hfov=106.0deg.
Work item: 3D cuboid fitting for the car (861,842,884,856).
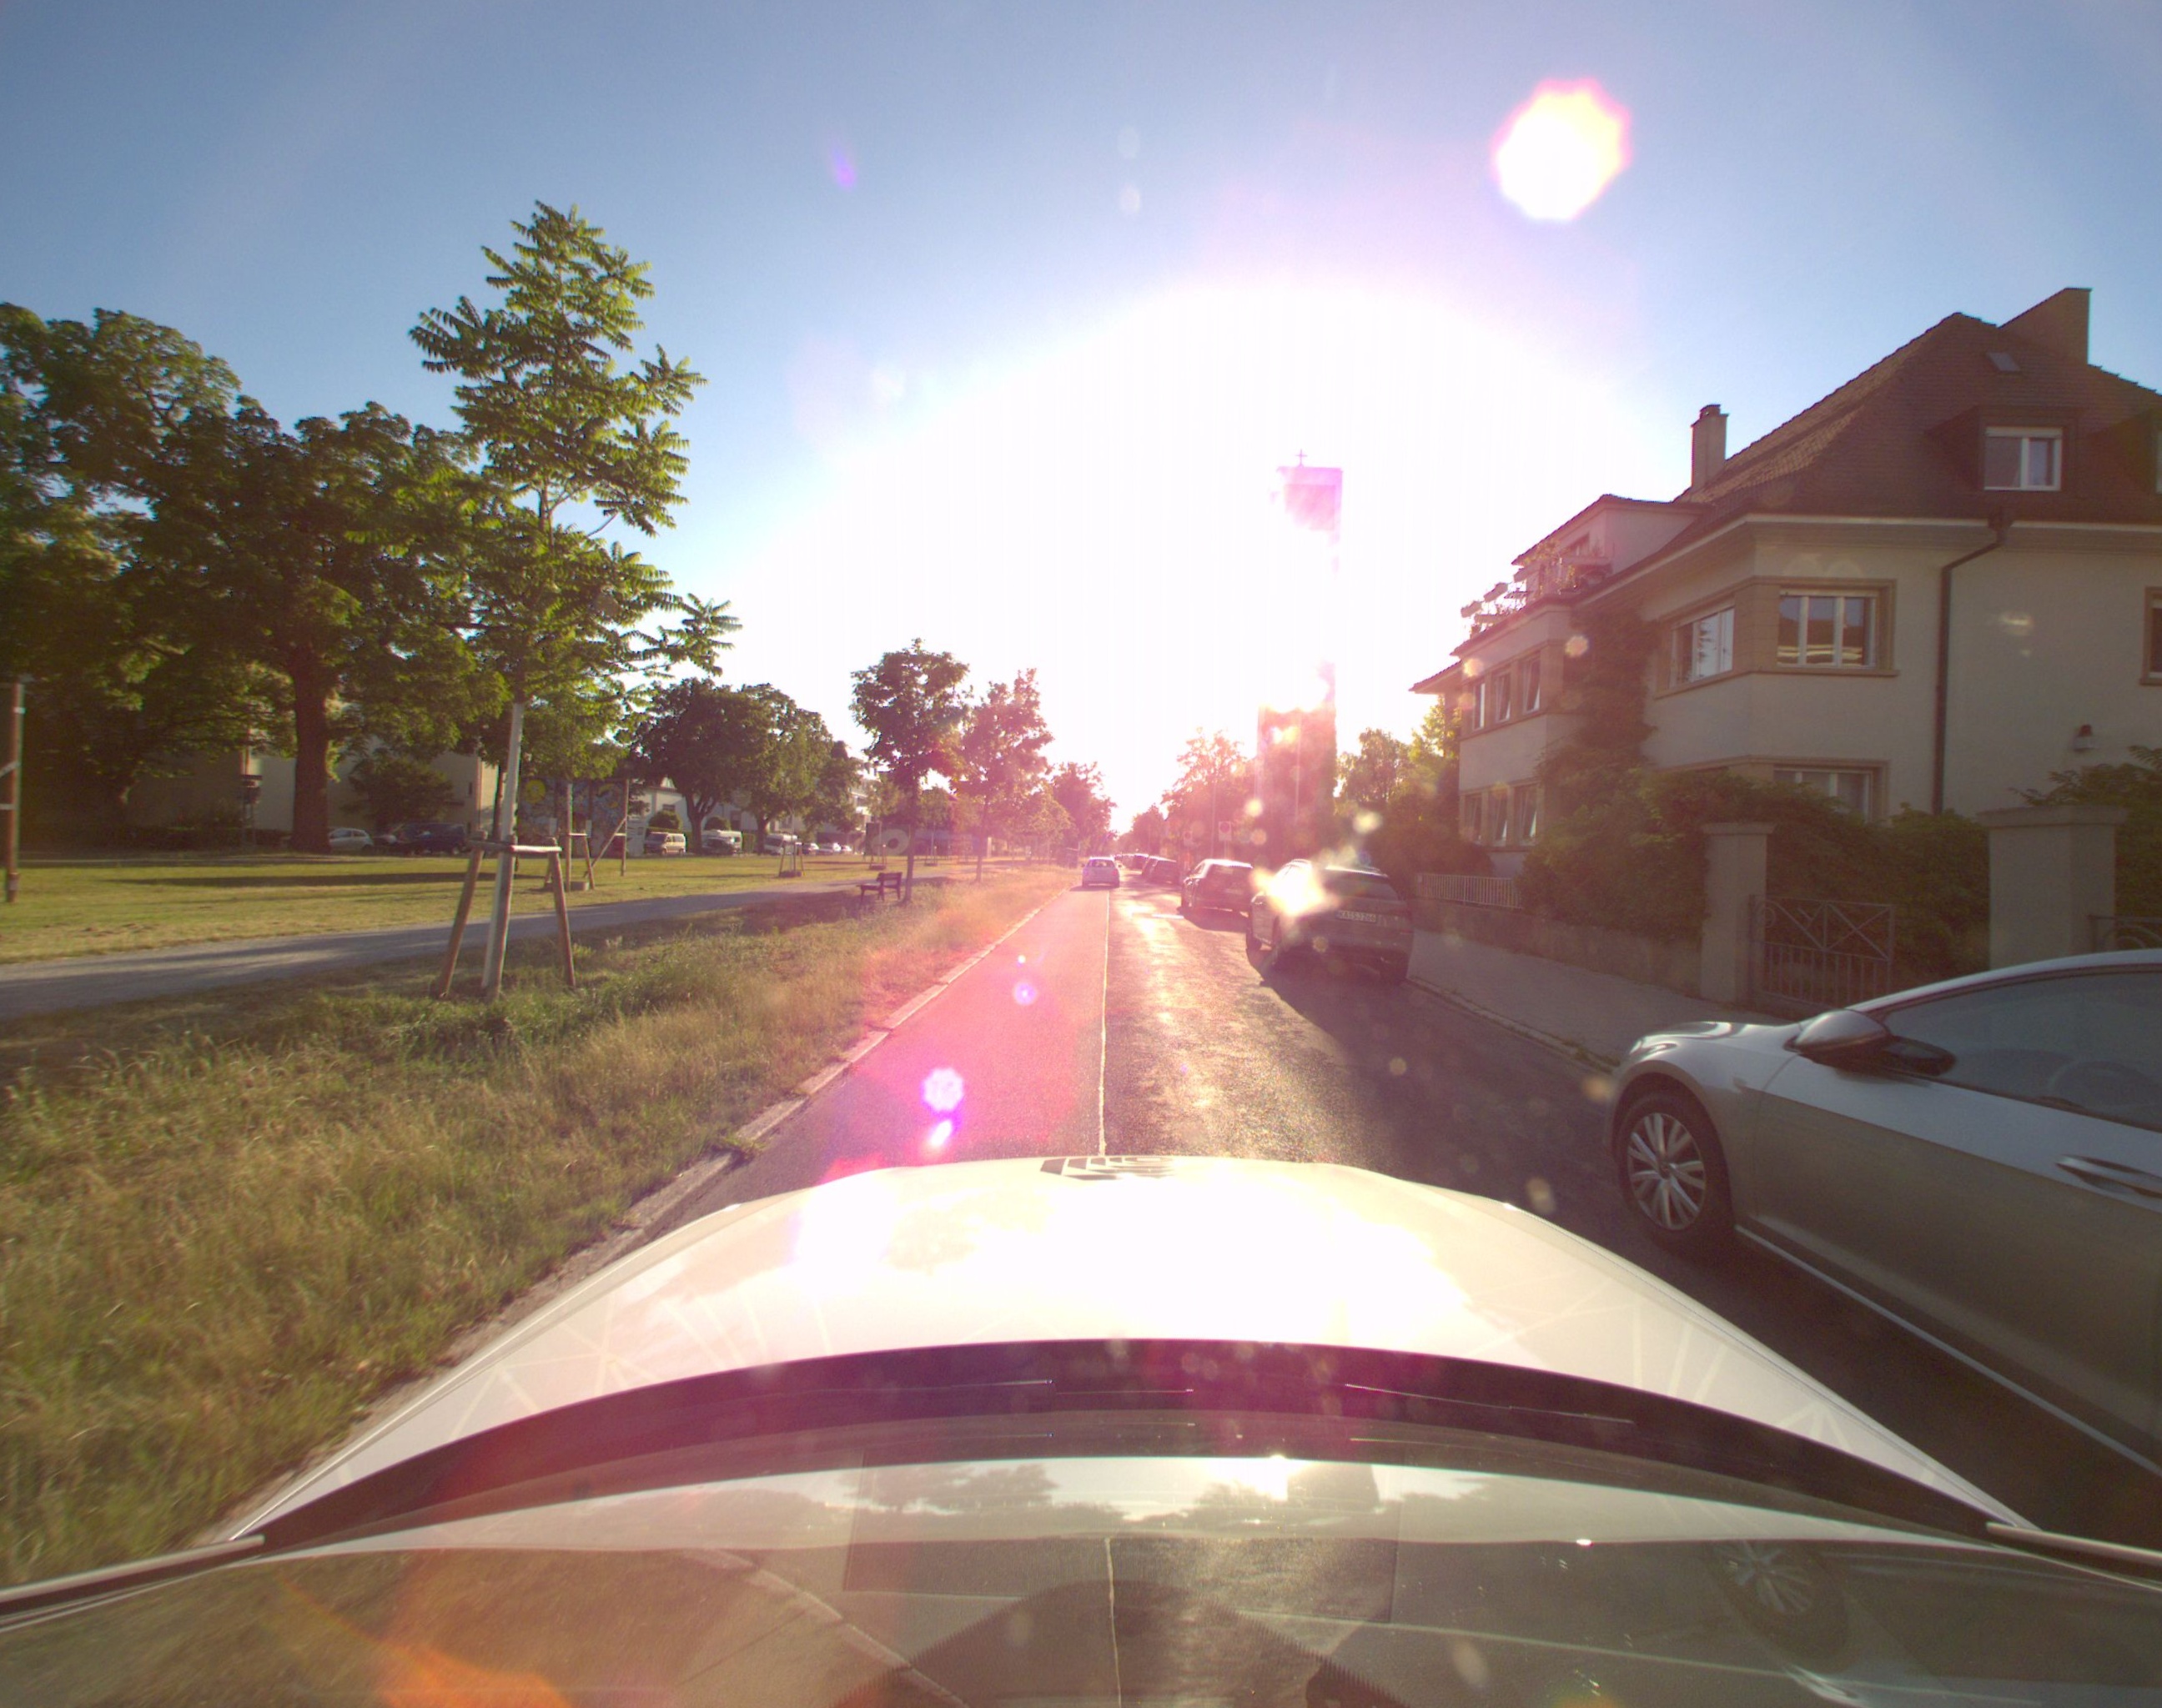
[{"bbox_3d":[-29.736,-0.710,116.269,1.882,1.916,4.329,-2,-1,2],"label":"car"}]

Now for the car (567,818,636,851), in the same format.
[{"bbox_3d":[-31.721,-1.265,54.010,1.985,2.013,4.003,1,1,3],"label":"car"}]

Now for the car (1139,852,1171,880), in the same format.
[{"bbox_3d":[5.023,0.804,55.731,1.815,1.561,4.625,7,1,3],"label":"car"}]

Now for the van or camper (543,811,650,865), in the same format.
[{"bbox_3d":[-31.738,-1.048,53.716,2.631,3.262,6.910,1,1,3],"label":"van or camper"}]

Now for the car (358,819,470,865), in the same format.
[{"bbox_3d":[-38.030,-0.640,46.641,1.929,2.418,5.120,-2,-1,3],"label":"car"}]

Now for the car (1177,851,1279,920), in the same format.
[{"bbox_3d":[4.055,0.813,23.266,1.987,1.597,4.887,5,0,1],"label":"car"}]

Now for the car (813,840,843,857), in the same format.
[{"bbox_3d":[-30.440,-0.688,98.099,1.826,1.899,4.646,-2,-1,3],"label":"car"}]

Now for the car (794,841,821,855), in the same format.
[{"bbox_3d":[-35.808,-0.797,106.751,1.775,1.702,4.669,-2,-1,2],"label":"car"}]

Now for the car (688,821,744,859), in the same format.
[{"bbox_3d":[-36.511,-1.346,81.716,2.294,3.559,6.769,-2,-1,2],"label":"car"}]

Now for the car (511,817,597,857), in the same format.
[{"bbox_3d":[-37.984,-1.146,58.964,1.986,2.597,6.093,-2,-1,2],"label":"car"}]

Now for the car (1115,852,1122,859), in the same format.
[{"bbox_3d":[11.107,0.473,240.606,1.981,2.023,4.003,1,0,3],"label":"car"}]

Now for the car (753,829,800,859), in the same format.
[{"bbox_3d":[-30.734,-0.952,82.462,2.251,2.826,5.875,-2,-1,2],"label":"car"}]

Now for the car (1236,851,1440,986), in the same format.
[{"bbox_3d":[3.647,0.830,12.457,1.875,1.536,4.466,4,0,4],"label":"car"}]

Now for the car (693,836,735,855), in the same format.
[{"bbox_3d":[-30.990,-0.702,68.875,1.409,1.564,4.311,2,0,1],"label":"car"}]

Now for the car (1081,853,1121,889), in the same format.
[{"bbox_3d":[0.996,0.767,38.825,1.816,1.566,4.003,0,1,3],"label":"car"}]

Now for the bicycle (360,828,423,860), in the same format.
[{"bbox_3d":[-29.443,-0.430,34.818,0.508,1.342,2.334,1,1,5],"label":"bicycle"}]

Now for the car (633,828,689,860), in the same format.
[{"bbox_3d":[-37.012,-0.841,71.952,2.128,2.604,5.325,-2,-1,0],"label":"car"}]

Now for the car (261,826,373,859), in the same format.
[{"bbox_3d":[-38.309,-0.567,40.976,1.987,1.542,3.810,2,0,0],"label":"car"}]

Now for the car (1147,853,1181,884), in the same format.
[{"bbox_3d":[4.909,0.851,48.745,1.681,1.527,4.178,5,1,2],"label":"car"}]

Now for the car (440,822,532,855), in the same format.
[{"bbox_3d":[-37.941,-0.969,52.140,1.962,2.004,5.053,2,0,3],"label":"car"}]

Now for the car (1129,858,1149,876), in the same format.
[{"bbox_3d":[5.957,1.306,84.132,1.826,1.731,5.034,4,0,2],"label":"car"}]

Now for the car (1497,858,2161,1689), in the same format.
[{"bbox_3d":[3.170,0.947,2.077,1.904,1.559,4.570,5,2,2],"label":"car"}]
